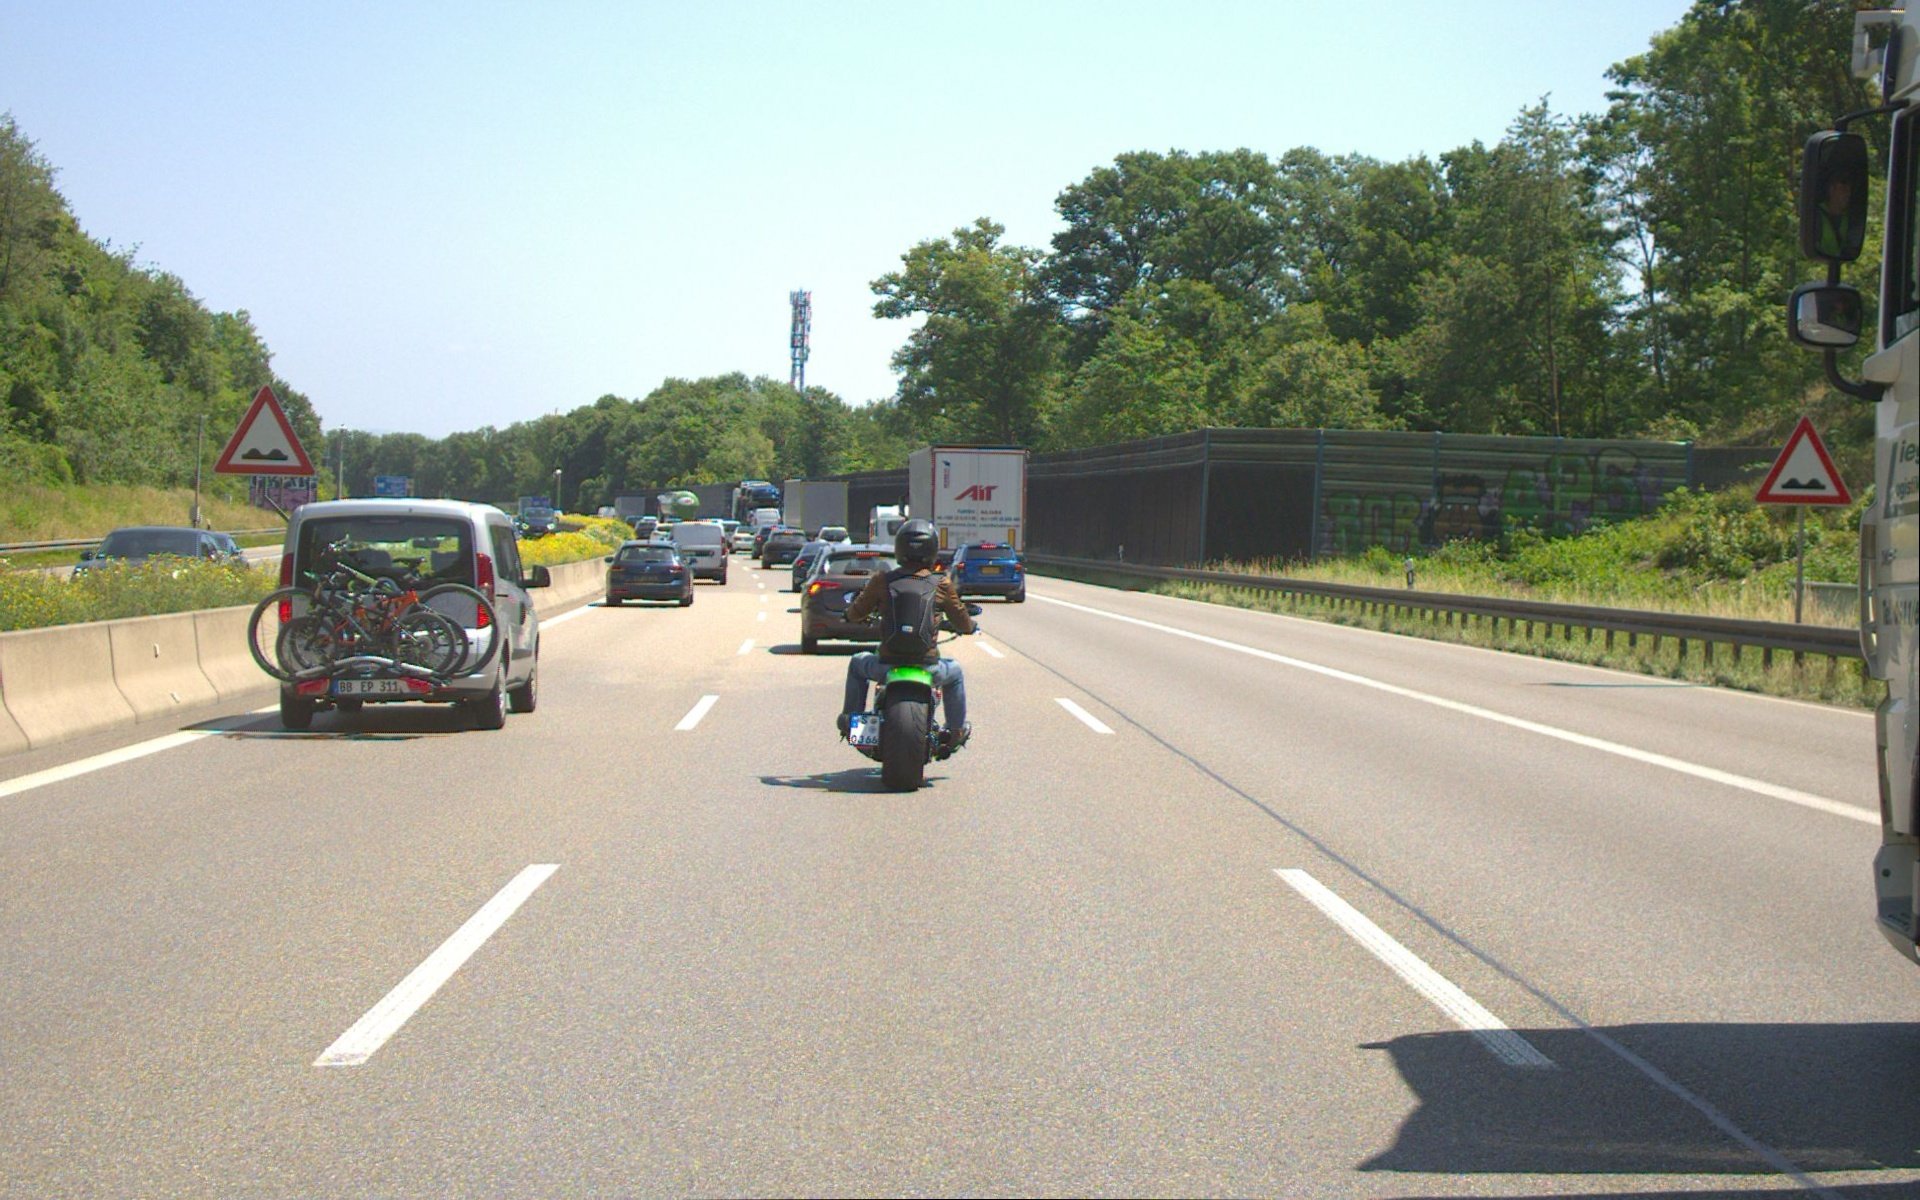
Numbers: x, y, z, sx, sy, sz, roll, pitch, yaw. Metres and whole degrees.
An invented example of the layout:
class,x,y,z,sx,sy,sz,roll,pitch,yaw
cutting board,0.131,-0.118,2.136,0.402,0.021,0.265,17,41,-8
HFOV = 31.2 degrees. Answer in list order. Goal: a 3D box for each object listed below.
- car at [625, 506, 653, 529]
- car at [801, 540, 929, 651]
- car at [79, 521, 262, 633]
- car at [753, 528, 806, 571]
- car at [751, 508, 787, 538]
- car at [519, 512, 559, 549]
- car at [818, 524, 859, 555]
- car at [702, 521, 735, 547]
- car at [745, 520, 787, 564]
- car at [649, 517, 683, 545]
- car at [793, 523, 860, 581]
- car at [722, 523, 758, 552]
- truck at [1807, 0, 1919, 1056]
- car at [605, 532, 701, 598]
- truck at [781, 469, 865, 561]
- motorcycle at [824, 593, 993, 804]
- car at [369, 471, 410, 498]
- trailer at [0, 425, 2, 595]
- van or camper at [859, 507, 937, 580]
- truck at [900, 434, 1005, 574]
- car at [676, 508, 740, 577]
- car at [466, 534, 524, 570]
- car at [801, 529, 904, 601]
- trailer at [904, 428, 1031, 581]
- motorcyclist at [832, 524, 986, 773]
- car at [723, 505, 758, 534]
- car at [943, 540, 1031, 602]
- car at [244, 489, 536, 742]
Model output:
class,x,y,z,sx,sy,sz,roll,pitch,yaw
car,-21.992,-5.635,235.636,1.832,1.491,3.744,1,0,-6
car,-1.341,-0.079,47.306,1.662,1.448,3.869,1,0,-3
car,-12.258,-0.391,53.613,1.993,1.672,4.081,1,1,-1
car,-7.224,-2.006,137.273,1.993,1.634,4.001,1,0,-4
car,-12.534,-5.028,225.390,2.107,1.870,4.001,1,0,-7
car,-23.660,-3.918,193.352,1.993,2.007,4.421,1,0,-4
car,-6.328,-3.152,178.775,1.993,1.568,4.001,1,0,-4
car,-14.103,-3.841,200.539,1.832,1.491,3.744,1,0,-5
car,-9.210,-2.743,163.005,1.911,2.007,3.691,1,0,-5
car,-16.578,-3.869,193.907,1.832,1.491,3.744,1,0,-5
car,-3.644,-1.299,93.633,1.779,1.547,3.585,1,0,-3
car,-11.633,-3.278,181.541,1.832,1.491,3.744,1,0,-5
truck,4.169,-0.715,8.099,2.786,4.190,5.870,1,2,0
car,-6.649,-0.751,74.810,1.993,1.382,4.001,1,0,-4
truck,-7.665,-4.645,190.650,3.802,4.943,8.953,1,0,-7
motorcycle,-0.298,0.570,21.458,0.964,1.144,2.812,1,1,0
car,-34.491,-6.968,207.844,1.993,1.611,4.485,1,1,-4
trailer,-24.610,-2.173,77.727,2.714,4.193,13.934,1,0,-3
van or camper,-2.511,-2.225,137.185,2.685,2.803,6.804,1,0,-4
truck,-0.282,-2.941,105.436,2.885,4.132,5.987,1,1,-3
car,-7.574,-1.718,103.524,1.791,2.007,3.642,1,0,-3
car,-19.457,-2.003,143.852,1.993,1.481,4.000,1,0,-2
car,-2.254,-0.721,71.493,1.993,1.425,3.848,1,0,-4
trailer,0.085,-2.726,98.616,2.885,4.024,13.797,1,1,-3
motorcyclist,-0.296,0.282,21.392,0.899,1.470,1.872,1,0,0
car,-14.735,-5.421,230.820,2.107,1.870,4.001,1,0,-7
car,0.629,-0.709,84.095,1.650,1.477,4.482,1,0,-6
car,-4.521,0.101,27.868,1.899,1.867,4.413,1,0,-4
